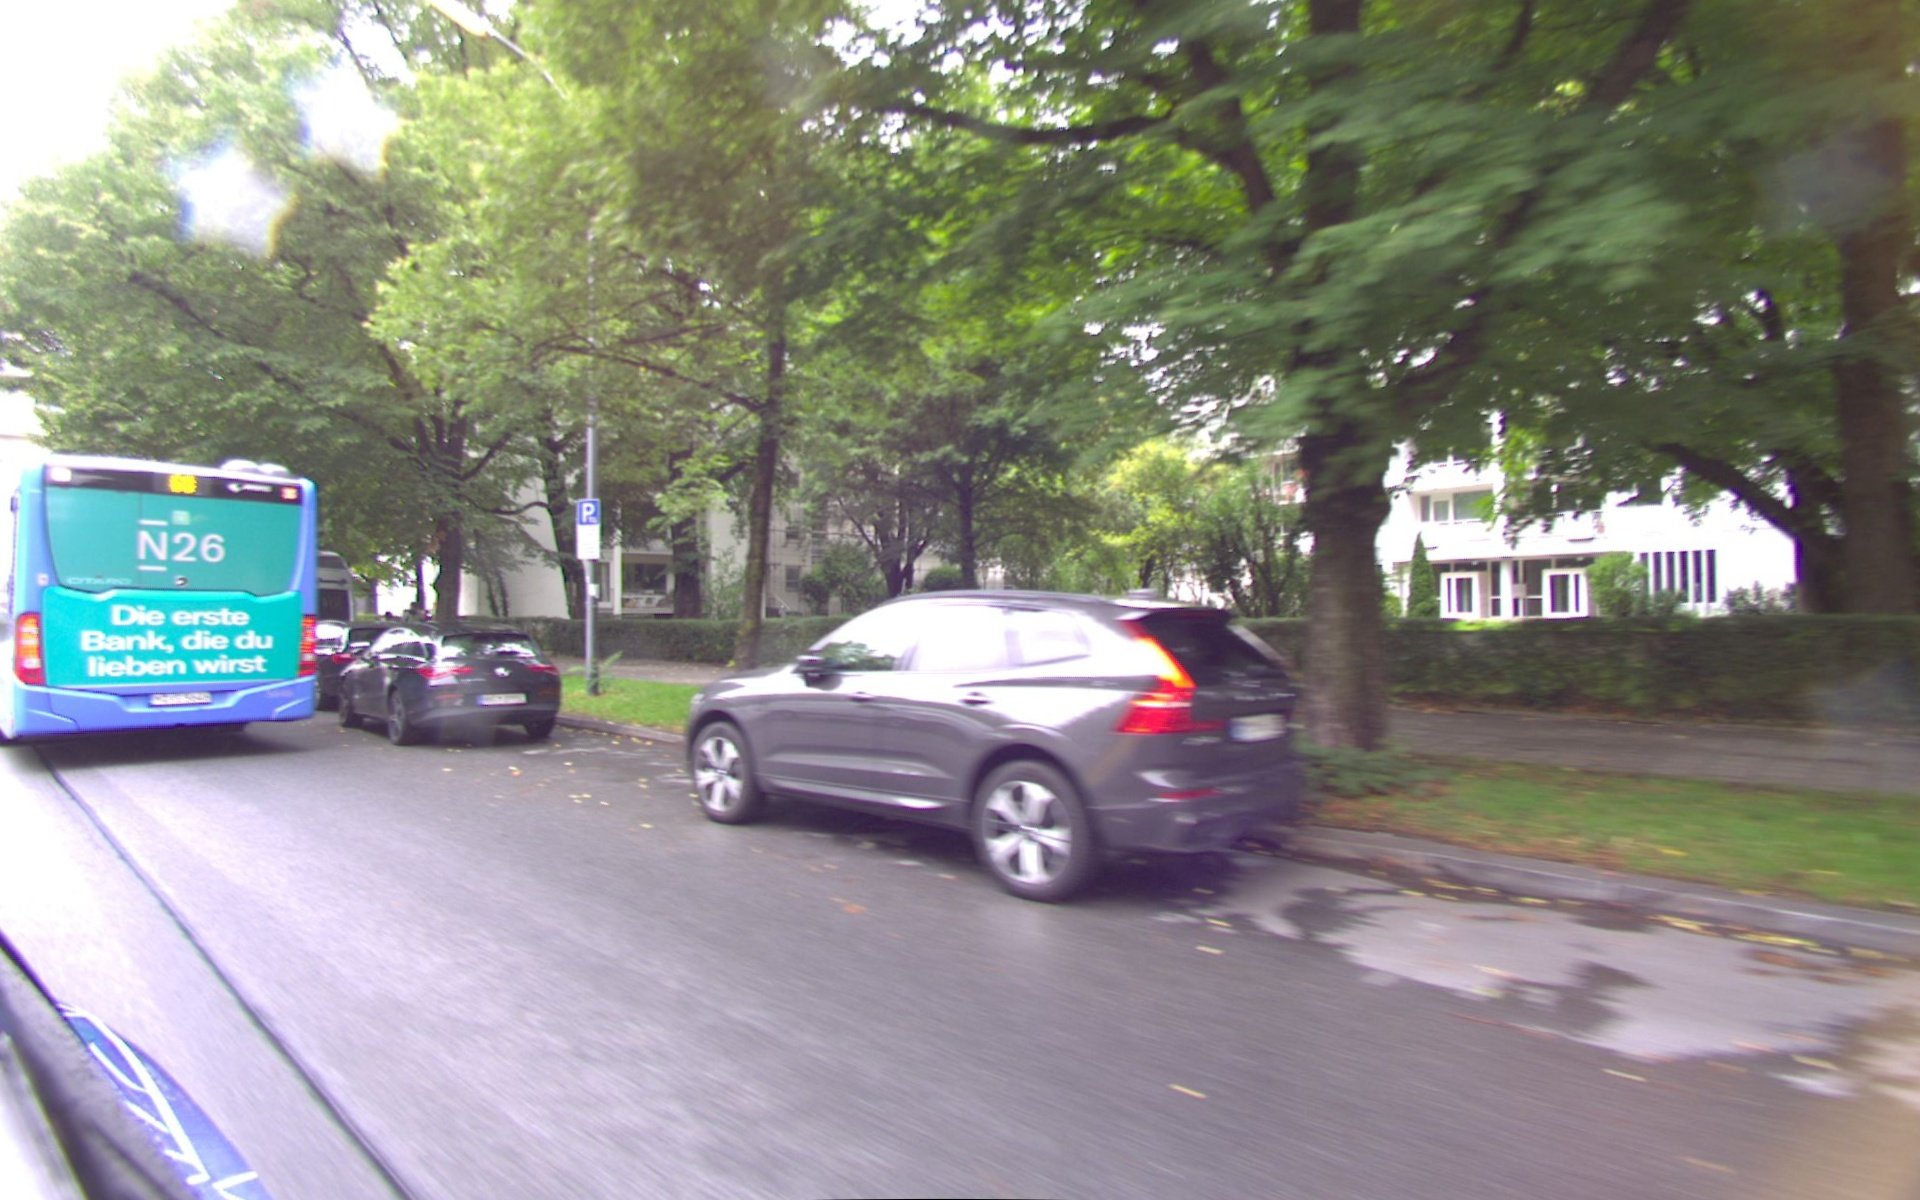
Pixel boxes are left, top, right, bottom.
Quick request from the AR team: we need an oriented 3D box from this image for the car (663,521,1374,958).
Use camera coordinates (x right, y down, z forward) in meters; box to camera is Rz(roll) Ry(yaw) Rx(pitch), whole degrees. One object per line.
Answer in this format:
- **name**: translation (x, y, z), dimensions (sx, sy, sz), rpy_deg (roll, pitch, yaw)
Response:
- **car**: translation (0.070, 0.633, 6.590), dimensions (4.548, 1.891, 1.764), rpy_deg (-1, -1, 43)

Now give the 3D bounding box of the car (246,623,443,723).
- **car**: translation (-10.369, 1.132, 16.888), dimensions (4.580, 1.449, 1.769), rpy_deg (-2, -3, 45)

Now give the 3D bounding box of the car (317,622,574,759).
- **car**: translation (-6.752, 1.039, 13.026), dimensions (1.768, 1.449, 4.555), rpy_deg (1, -2, -43)

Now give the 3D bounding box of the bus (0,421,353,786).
- **bus**: translation (-14.304, 0.045, 16.424), dimensions (18.429, 3.263, 2.828), rpy_deg (0, -1, 44)
